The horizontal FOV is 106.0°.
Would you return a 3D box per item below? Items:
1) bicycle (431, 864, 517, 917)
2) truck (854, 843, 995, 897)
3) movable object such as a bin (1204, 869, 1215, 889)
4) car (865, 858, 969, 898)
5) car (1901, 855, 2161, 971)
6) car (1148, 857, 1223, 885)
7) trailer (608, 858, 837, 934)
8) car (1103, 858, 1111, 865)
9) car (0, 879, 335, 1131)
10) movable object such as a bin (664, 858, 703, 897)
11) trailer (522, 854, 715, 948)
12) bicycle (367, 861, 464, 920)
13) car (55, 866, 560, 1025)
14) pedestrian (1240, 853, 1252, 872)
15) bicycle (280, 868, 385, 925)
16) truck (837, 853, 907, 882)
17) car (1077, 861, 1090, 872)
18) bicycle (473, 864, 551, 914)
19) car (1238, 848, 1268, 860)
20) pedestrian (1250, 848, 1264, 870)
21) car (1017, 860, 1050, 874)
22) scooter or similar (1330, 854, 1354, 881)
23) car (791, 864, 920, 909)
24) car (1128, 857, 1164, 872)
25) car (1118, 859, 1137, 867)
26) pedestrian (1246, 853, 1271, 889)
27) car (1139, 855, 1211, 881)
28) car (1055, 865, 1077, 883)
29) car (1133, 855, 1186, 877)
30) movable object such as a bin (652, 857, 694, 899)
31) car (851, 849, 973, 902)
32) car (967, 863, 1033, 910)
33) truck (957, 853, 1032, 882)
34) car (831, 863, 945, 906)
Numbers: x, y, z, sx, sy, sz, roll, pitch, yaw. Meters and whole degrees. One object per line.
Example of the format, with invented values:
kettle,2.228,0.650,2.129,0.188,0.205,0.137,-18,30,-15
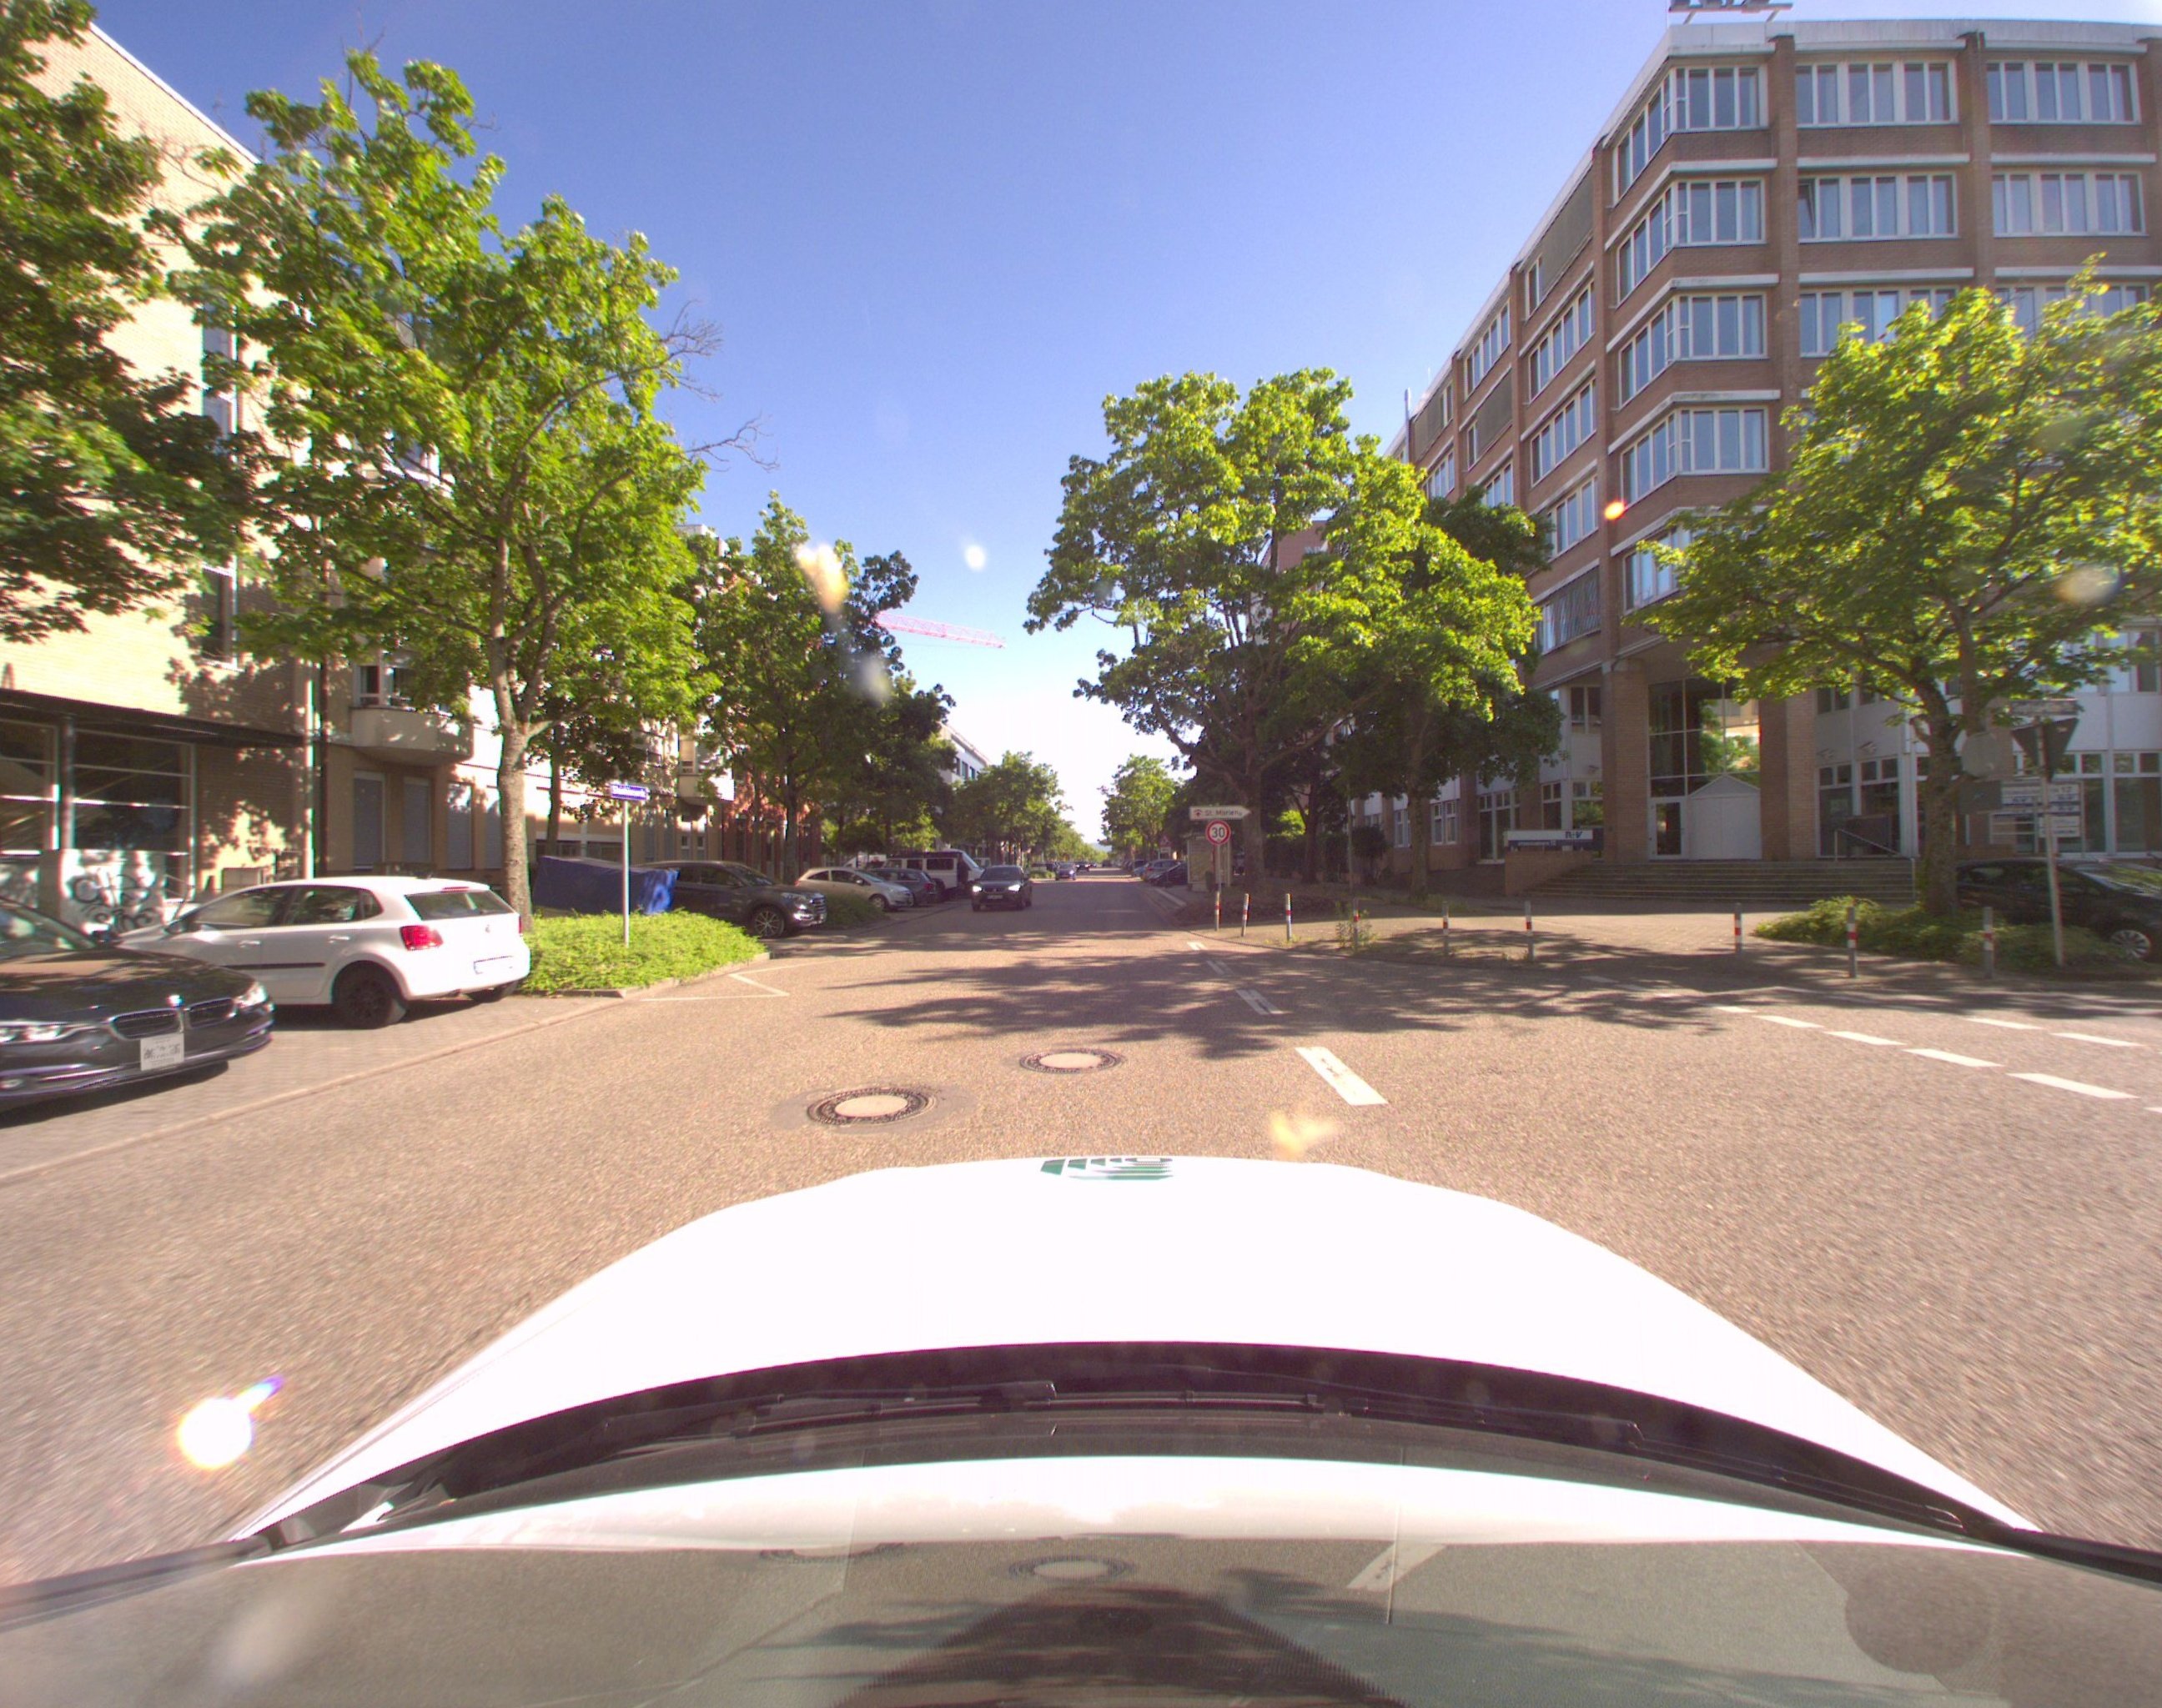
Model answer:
bicycle,-16.310,0.975,21.915,1.726,1.409,0.612,1,-1,-13
truck,-7.348,0.749,38.639,6.208,2.422,2.188,-1,-1,2
movable object such as a bin,4.827,0.936,30.659,0.297,0.753,0.467,-3,-1,2
car,-7.139,1.054,35.746,4.092,1.662,2.000,1,-1,1
car,14.849,0.762,12.018,1.646,1.462,3.919,-1,0,2
car,5.773,0.941,45.341,3.922,1.439,1.774,-1,-1,-1
trailer,-7.850,0.891,18.156,4.249,1.572,1.855,1,-1,-2
car,5.970,1.750,187.793,1.926,1.597,4.367,-1,0,1
car,-8.198,0.915,5.766,4.136,1.402,1.801,1,-1,1
movable object such as a bin,-16.547,0.972,33.944,1.145,1.563,1.240,-1,-1,-11
trailer,-8.909,0.873,15.858,2.714,1.687,1.713,1,0,2
bicycle,-16.460,0.898,20.186,1.731,1.409,0.610,1,-1,-21
car,-8.069,0.898,8.771,3.740,1.452,1.755,1,-1,1
pedestrian,12.679,0.641,62.619,0.698,1.458,0.715,-2,-1,-1
bicycle,-16.573,0.933,18.057,1.692,1.229,0.450,1,-1,-12
truck,-20.469,1.288,79.865,6.084,2.705,2.577,-1,-1,-1
car,0.373,1.897,123.004,1.886,1.684,4.352,-1,0,0
bicycle,-16.425,1.011,23.558,1.731,1.409,0.610,1,-1,-21
car,26.231,0.024,124.226,4.062,1.783,1.998,1,-1,-3
pedestrian,13.964,0.379,64.562,0.696,1.711,0.918,-4,0,-9
car,-5.390,1.461,92.481,3.569,1.550,1.636,-1,-3,-1
scooter or similar,13.178,0.688,41.164,0.547,1.325,1.803,1,-1,-3
car,-7.612,1.076,27.679,3.816,1.461,1.735,0,-1,5
car,8.089,1.299,101.179,4.255,1.633,1.857,-2,-1,-1
car,9.872,1.902,172.675,3.978,1.792,1.997,-1,-1,-4
pedestrian,8.846,0.824,40.690,0.918,1.711,0.695,-4,0,-12
car,6.001,0.872,52.424,4.344,1.597,1.936,-1,-1,-5
car,-1.237,1.676,69.396,1.637,1.420,4.001,-1,0,2
car,6.845,1.069,71.107,4.390,1.618,1.912,-4,-1,1
movable object such as a bin,-16.333,0.950,32.649,1.145,1.620,1.437,-1,-1,-11
car,-6.839,0.846,33.272,4.464,2.052,2.001,1,-1,2
car,-2.749,1.087,28.490,1.773,1.511,4.002,-1,-1,2
truck,-6.113,0.977,57.796,4.963,1.959,2.140,-1,-1,3
car,-7.154,1.114,30.426,3.763,1.492,1.834,1,0,3
